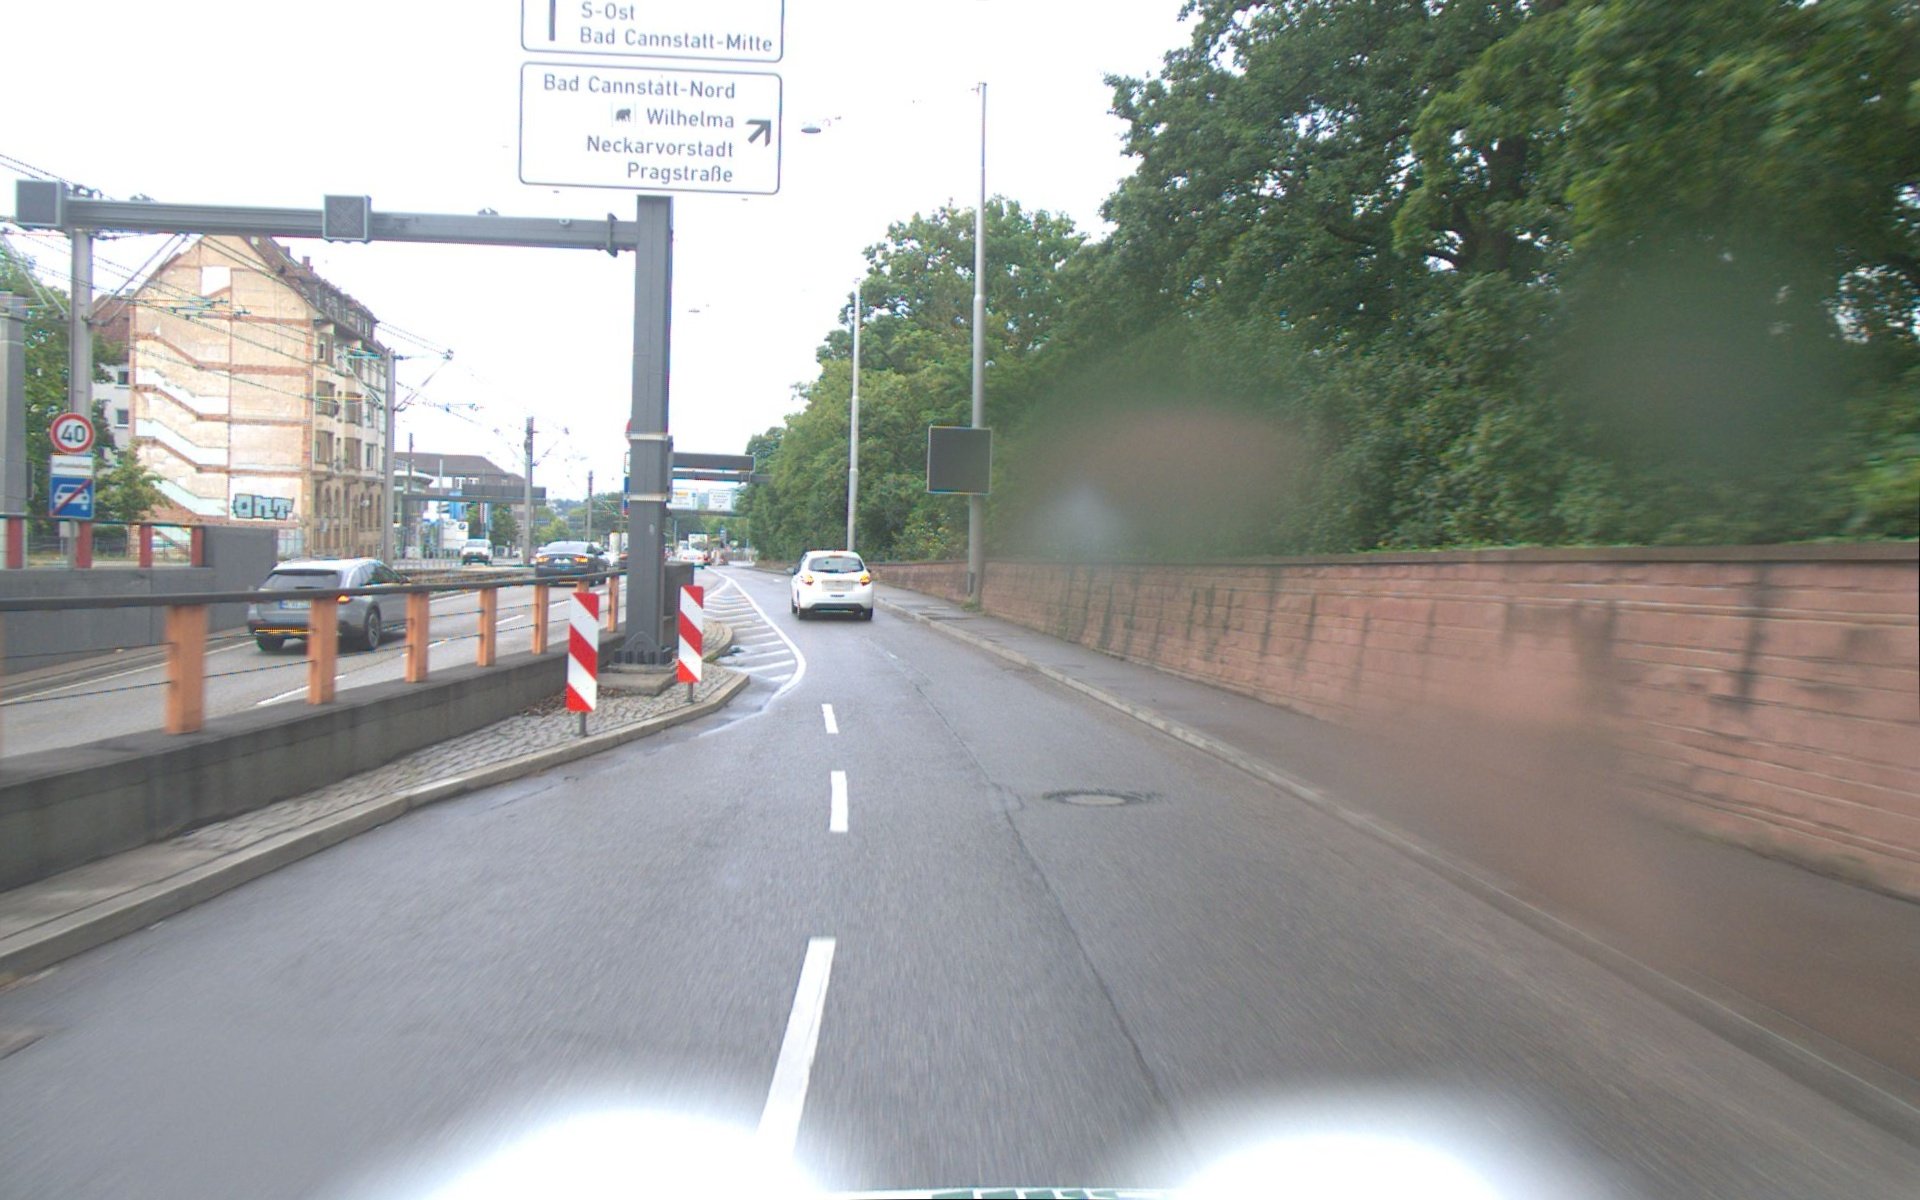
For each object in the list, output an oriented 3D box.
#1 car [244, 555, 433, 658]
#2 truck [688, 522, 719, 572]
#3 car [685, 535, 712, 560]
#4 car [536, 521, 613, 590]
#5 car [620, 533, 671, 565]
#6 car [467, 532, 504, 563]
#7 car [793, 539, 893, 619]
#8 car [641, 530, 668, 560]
[{"bbox_3d":[-10.704,0.043,28.813,1.784,1.592,4.092,-1,2,-1],"label":"car"},{"bbox_3d":[-32.801,-6.686,211.635,3.399,5.496,12.030,2,-2,-7],"label":"truck"},{"bbox_3d":[-20.750,-4.146,131.237,2.043,1.905,4.088,0,0,-8],"label":"car"},{"bbox_3d":[-11.959,-1.421,51.509,1.687,1.923,3.535,1,4,-2],"label":"car"},{"bbox_3d":[-16.329,-2.652,86.043,1.953,1.603,4.000,0,1,-1],"label":"car"},{"bbox_3d":[-36.594,-4.017,127.720,1.956,2.155,5.101,2,0,-8],"label":"car"},{"bbox_3d":[-2.713,-0.518,37.669,1.919,1.513,3.994,2,4,-9],"label":"car"},{"bbox_3d":[-24.571,-4.390,133.154,1.957,2.049,3.990,2,-2,-10],"label":"car"}]
